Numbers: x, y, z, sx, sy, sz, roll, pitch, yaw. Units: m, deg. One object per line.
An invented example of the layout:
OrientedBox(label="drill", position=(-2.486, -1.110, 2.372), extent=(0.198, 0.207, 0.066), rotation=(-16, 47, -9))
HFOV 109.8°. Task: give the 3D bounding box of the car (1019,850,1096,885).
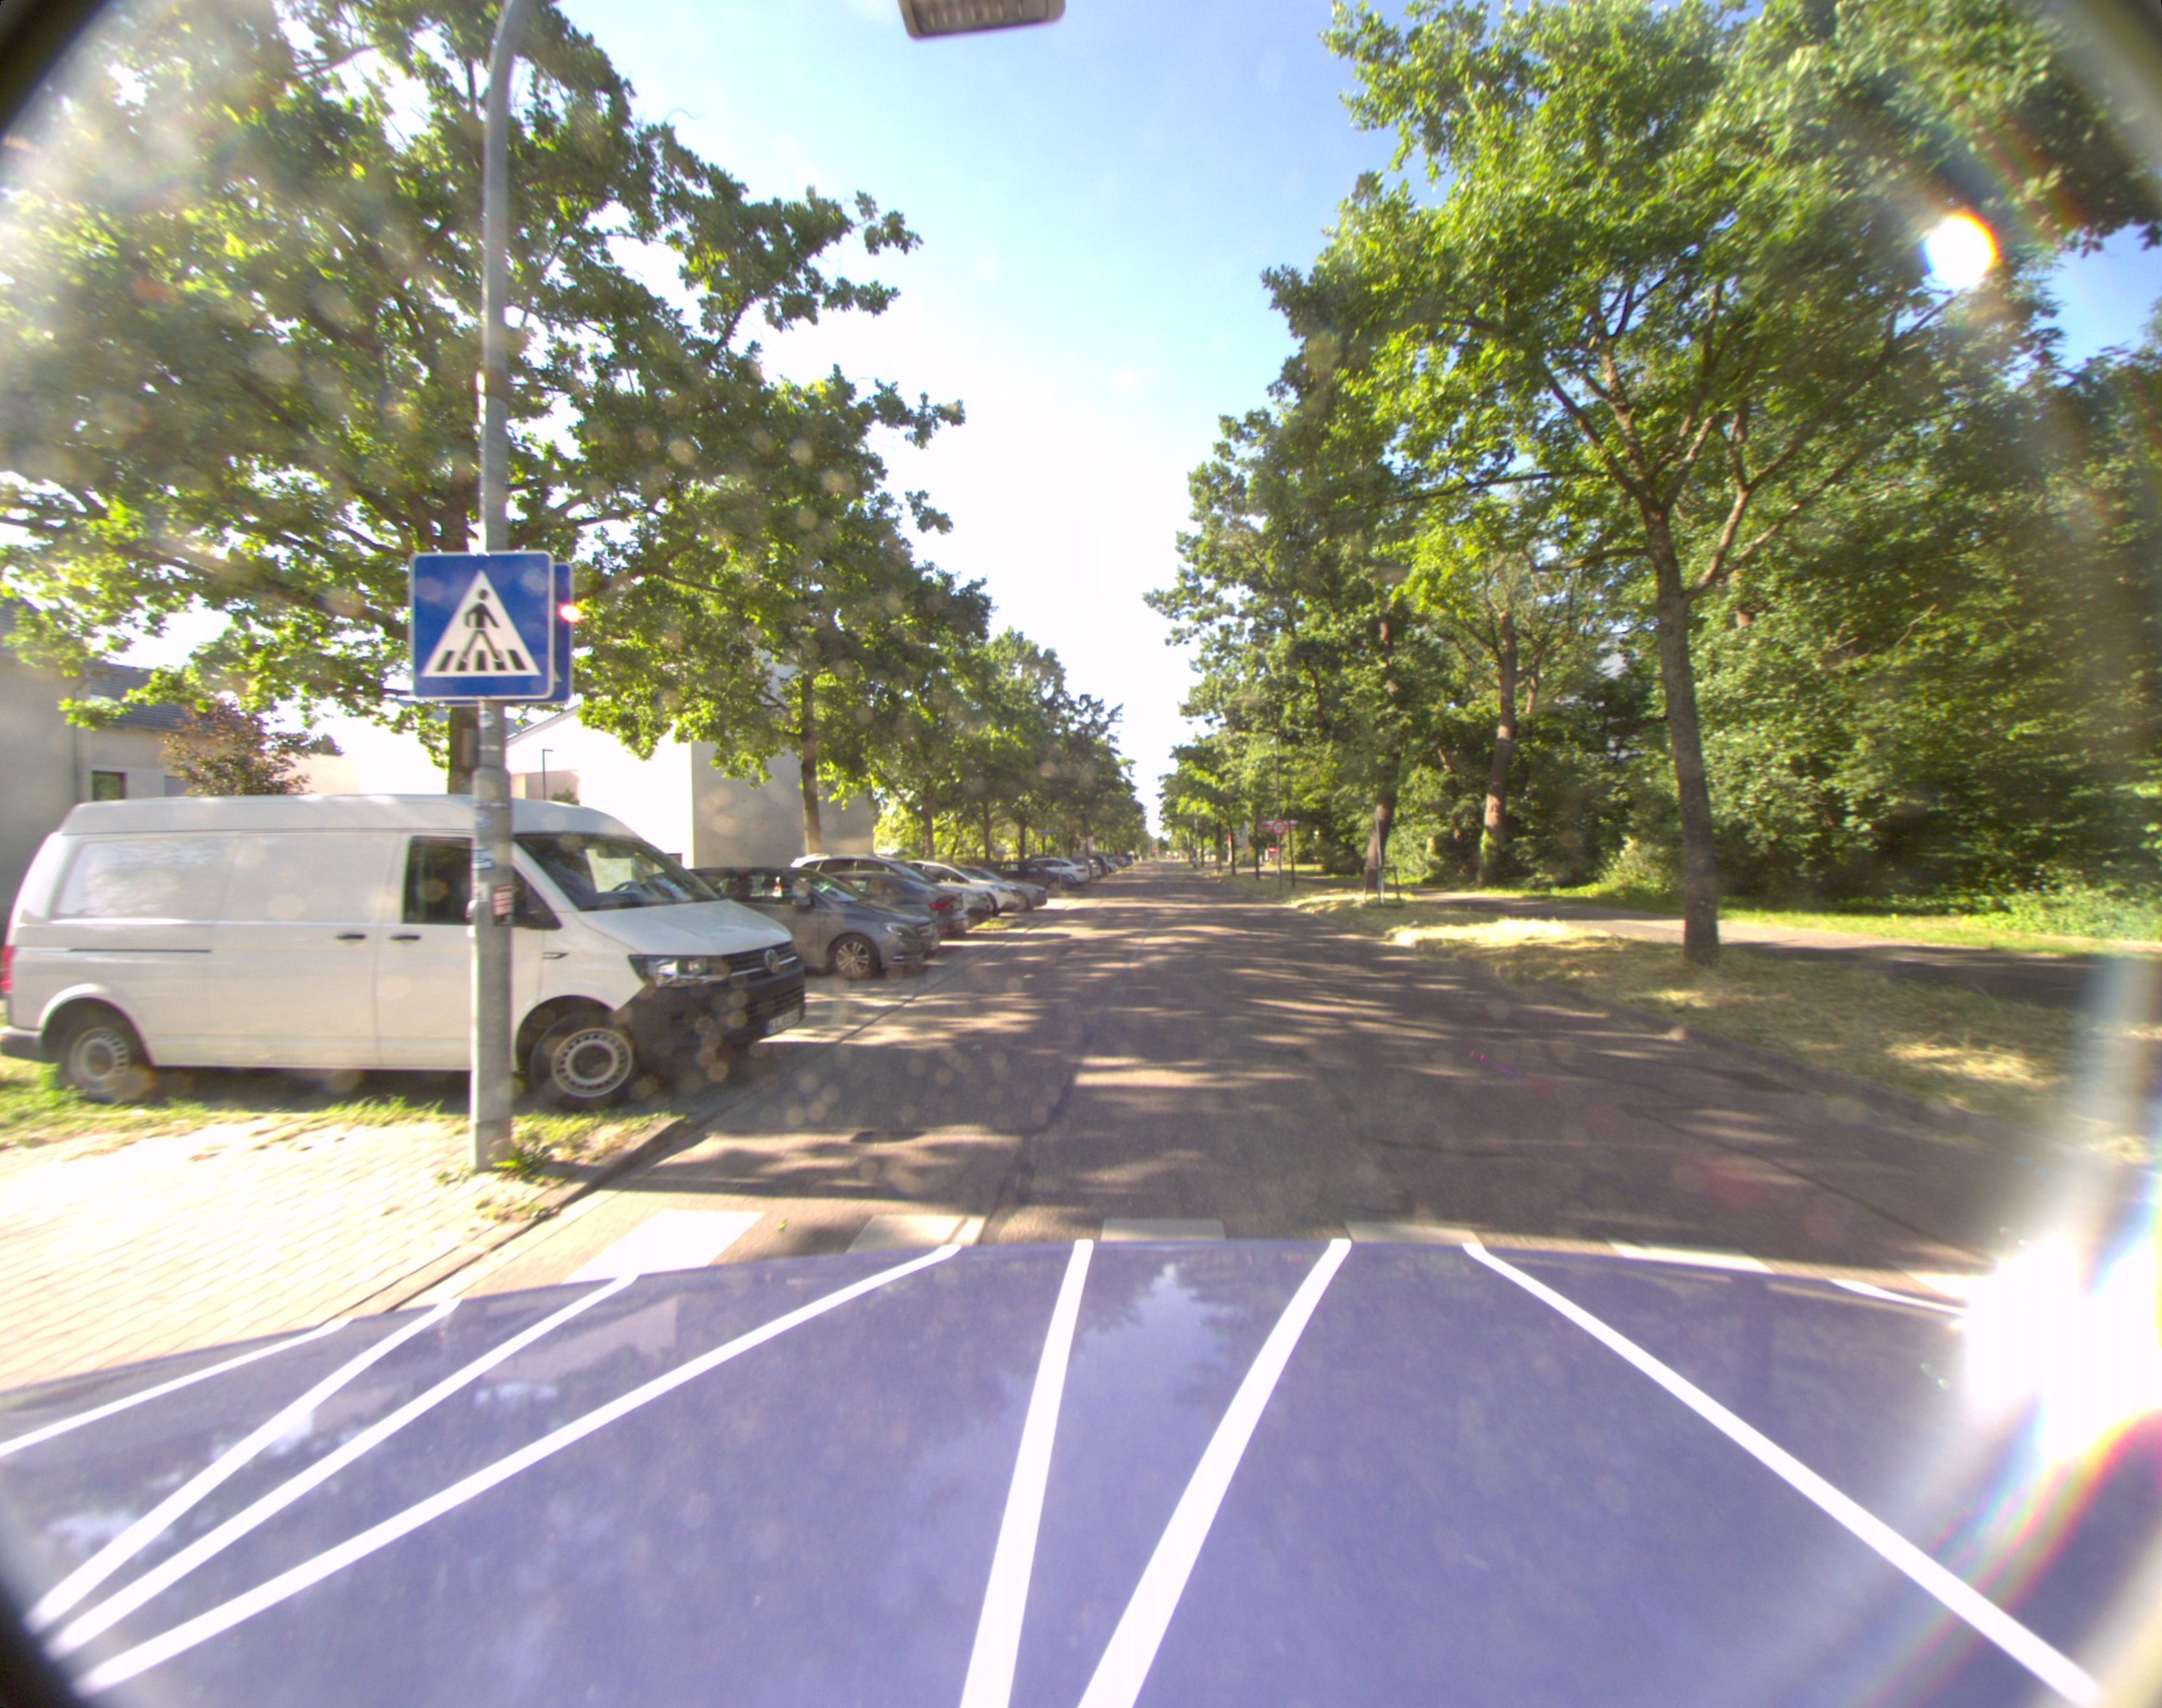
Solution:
OrientedBox(label="car", position=(-1.379, 0.796, 45.884), extent=(4.393, 1.976, 1.533), rotation=(-2, 0, 7))

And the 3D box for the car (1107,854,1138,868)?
OrientedBox(label="car", position=(5.694, 0.935, 104.322), extent=(4.149, 1.838, 1.950), rotation=(-2, 0, 6))

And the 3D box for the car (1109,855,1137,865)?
OrientedBox(label="car", position=(6.332, 0.933, 114.336), extent=(4.149, 1.401, 1.801), rotation=(-2, 0, 6))

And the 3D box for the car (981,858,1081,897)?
OrientedBox(label="car", position=(-2.296, 1.087, 35.534), extent=(4.393, 1.632, 1.533), rotation=(-2, 0, 7))

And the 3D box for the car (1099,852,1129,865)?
OrientedBox(label="car", position=(4.725, 0.643, 109.488), extent=(4.149, 1.838, 1.950), rotation=(-2, 0, 6))

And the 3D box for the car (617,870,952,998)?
OrientedBox(label="car", position=(-4.044, 1.074, 10.721), extent=(3.995, 1.554, 1.758), rotation=(-2, 0, 7))

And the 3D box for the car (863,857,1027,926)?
OrientedBox(label="car", position=(-3.616, 0.988, 20.474), extent=(4.017, 1.669, 1.533), rotation=(-2, 0, 7))

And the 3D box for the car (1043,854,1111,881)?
OrientedBox(label="car", position=(-0.268, 0.915, 51.702), extent=(4.393, 1.733, 1.533), rotation=(-2, 0, 7))

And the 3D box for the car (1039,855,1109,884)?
OrientedBox(label="car", position=(-0.450, 1.006, 49.911), extent=(4.393, 1.733, 1.533), rotation=(-2, 0, 7))

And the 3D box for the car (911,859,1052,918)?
OrientedBox(label="car", position=(-3.020, 1.039, 23.432), extent=(4.017, 1.650, 1.533), rotation=(-2, 0, 7))

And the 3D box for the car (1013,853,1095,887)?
OrientedBox(label="car", position=(-1.482, 0.898, 42.533), extent=(4.393, 1.733, 1.533), rotation=(-2, 0, 7))

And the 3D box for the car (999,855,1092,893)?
OrientedBox(label="car", position=(-1.723, 0.978, 37.967), extent=(4.393, 1.733, 1.533), rotation=(-2, 0, 7))

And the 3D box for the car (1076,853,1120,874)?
OrientedBox(label="car", position=(1.672, 0.887, 72.301), extent=(3.995, 1.838, 1.864), rotation=(-2, 0, 6))

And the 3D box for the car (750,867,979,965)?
OrientedBox(label="car", position=(-3.721, 1.050, 13.308), extent=(3.514, 1.533, 1.449), rotation=(-2, 0, 7))

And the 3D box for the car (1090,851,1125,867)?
OrientedBox(label="car", position=(3.290, 0.623, 93.312), extent=(4.149, 1.838, 1.950), rotation=(-2, 0, 6))

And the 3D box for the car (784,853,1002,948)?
OrientedBox(label="car", position=(-3.843, 0.943, 15.882), extent=(4.017, 1.783, 1.714), rotation=(-2, 0, 7))

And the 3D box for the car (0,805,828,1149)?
OrientedBox(label="car", position=(-4.761, 0.766, 5.721), extent=(5.043, 2.069, 1.891), rotation=(-1, 0, 5))
